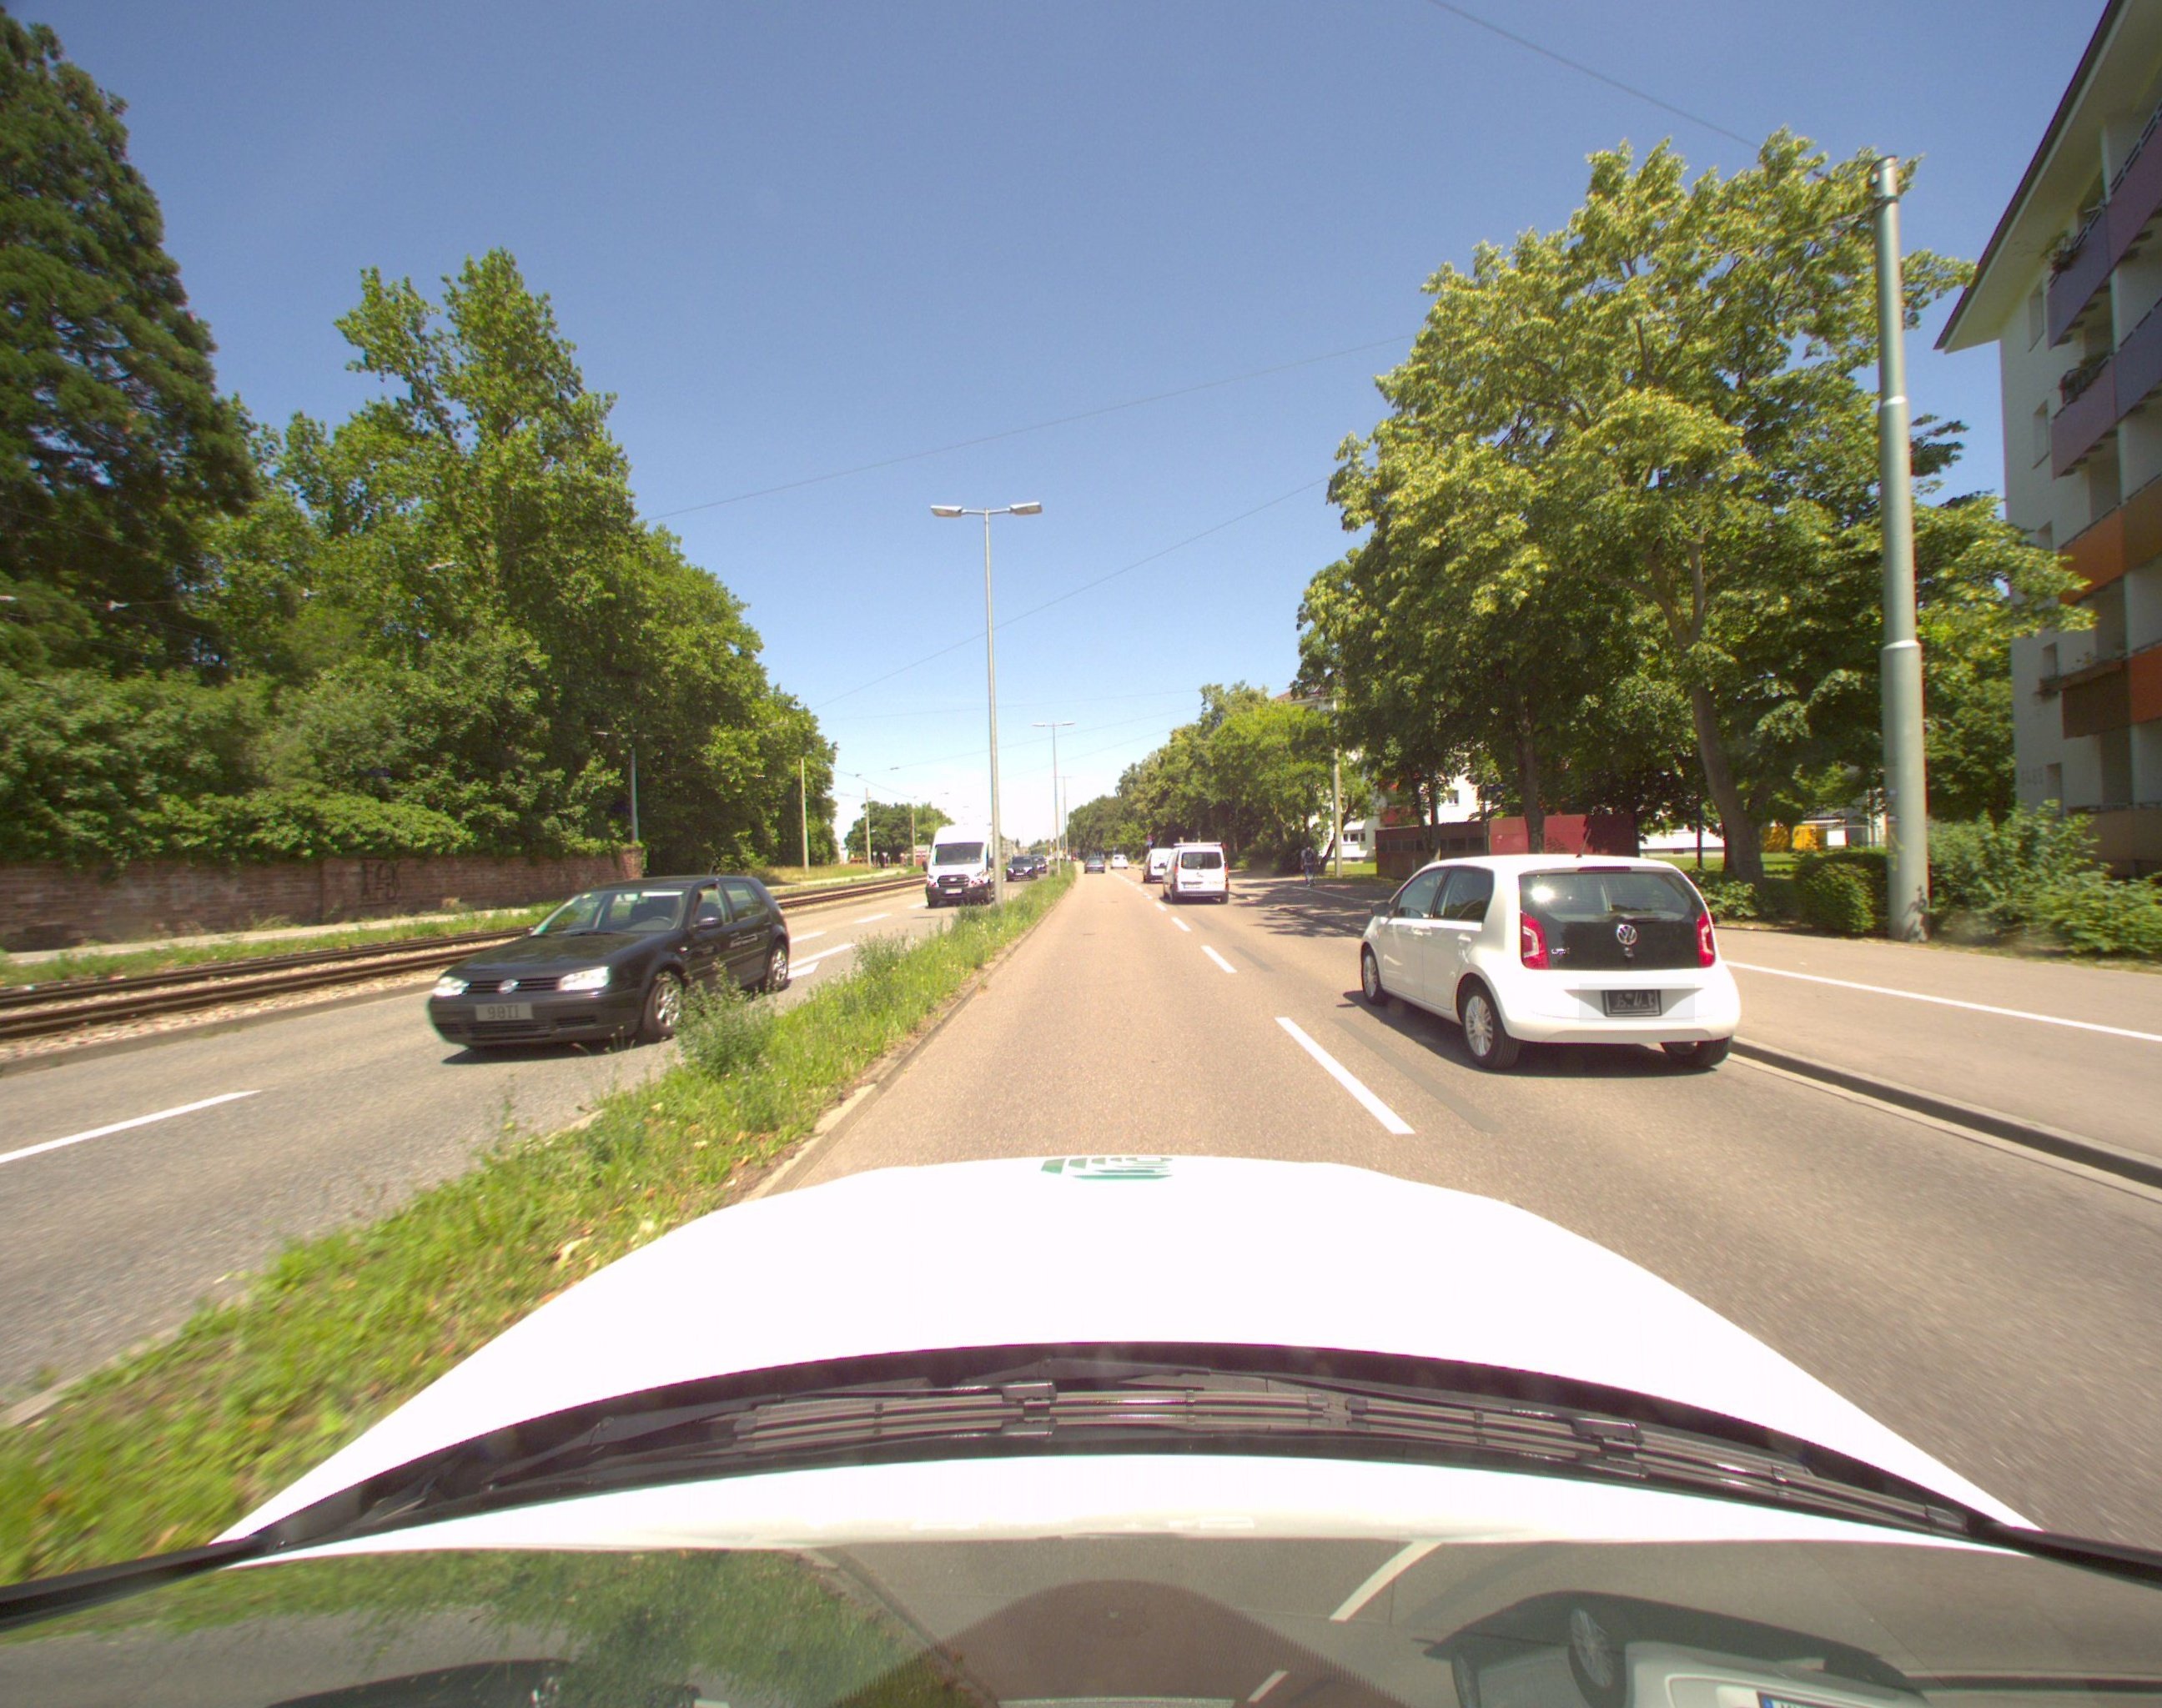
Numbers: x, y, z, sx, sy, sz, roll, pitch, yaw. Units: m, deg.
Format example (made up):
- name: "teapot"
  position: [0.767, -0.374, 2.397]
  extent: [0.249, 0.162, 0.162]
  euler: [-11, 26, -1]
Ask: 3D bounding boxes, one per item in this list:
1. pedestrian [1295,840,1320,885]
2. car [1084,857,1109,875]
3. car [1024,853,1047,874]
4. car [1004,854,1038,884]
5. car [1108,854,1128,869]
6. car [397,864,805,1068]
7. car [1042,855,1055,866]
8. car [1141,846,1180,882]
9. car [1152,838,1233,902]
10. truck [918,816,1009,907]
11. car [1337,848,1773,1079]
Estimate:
- name: "pedestrian"
  position: [8.439, 0.327, 30.321]
  extent: [0.666, 1.644, 0.856]
  euler: [-1, -1, 0]
- name: "car"
  position: [1.271, 0.996, 68.334]
  extent: [1.797, 1.486, 3.997]
  euler: [-1, 0, -2]
- name: "car"
  position: [-4.138, 0.859, 75.097]
  extent: [1.823, 1.713, 4.792]
  euler: [-3, 0, -1]
- name: "car"
  position: [-3.905, 0.949, 53.847]
  extent: [1.823, 1.756, 4.487]
  euler: [-3, 0, -1]
- name: "car"
  position: [3.995, 0.846, 88.260]
  extent: [1.799, 1.540, 3.995]
  euler: [-1, 0, -4]
- name: "car"
  position: [-4.431, 0.899, 8.343]
  extent: [1.710, 1.458, 3.915]
  euler: [-3, 0, 1]
- name: "car"
  position: [-5.347, 1.020, 134.228]
  extent: [1.824, 1.738, 4.038]
  euler: [-3, 0, 0]
- name: "car"
  position: [4.182, 0.505, 43.184]
  extent: [1.722, 1.814, 4.001]
  euler: [-1, 0, 1]
- name: "car"
  position: [3.508, 0.494, 26.412]
  extent: [1.820, 1.882, 4.450]
  euler: [-1, 0, -3]
- name: "truck"
  position: [-3.932, 0.216, 28.260]
  extent: [2.074, 2.748, 5.548]
  euler: [-3, 0, 1]
- name: "car"
  position: [3.604, 0.705, 7.089]
  extent: [1.652, 1.449, 3.856]
  euler: [-1, 0, 2]
